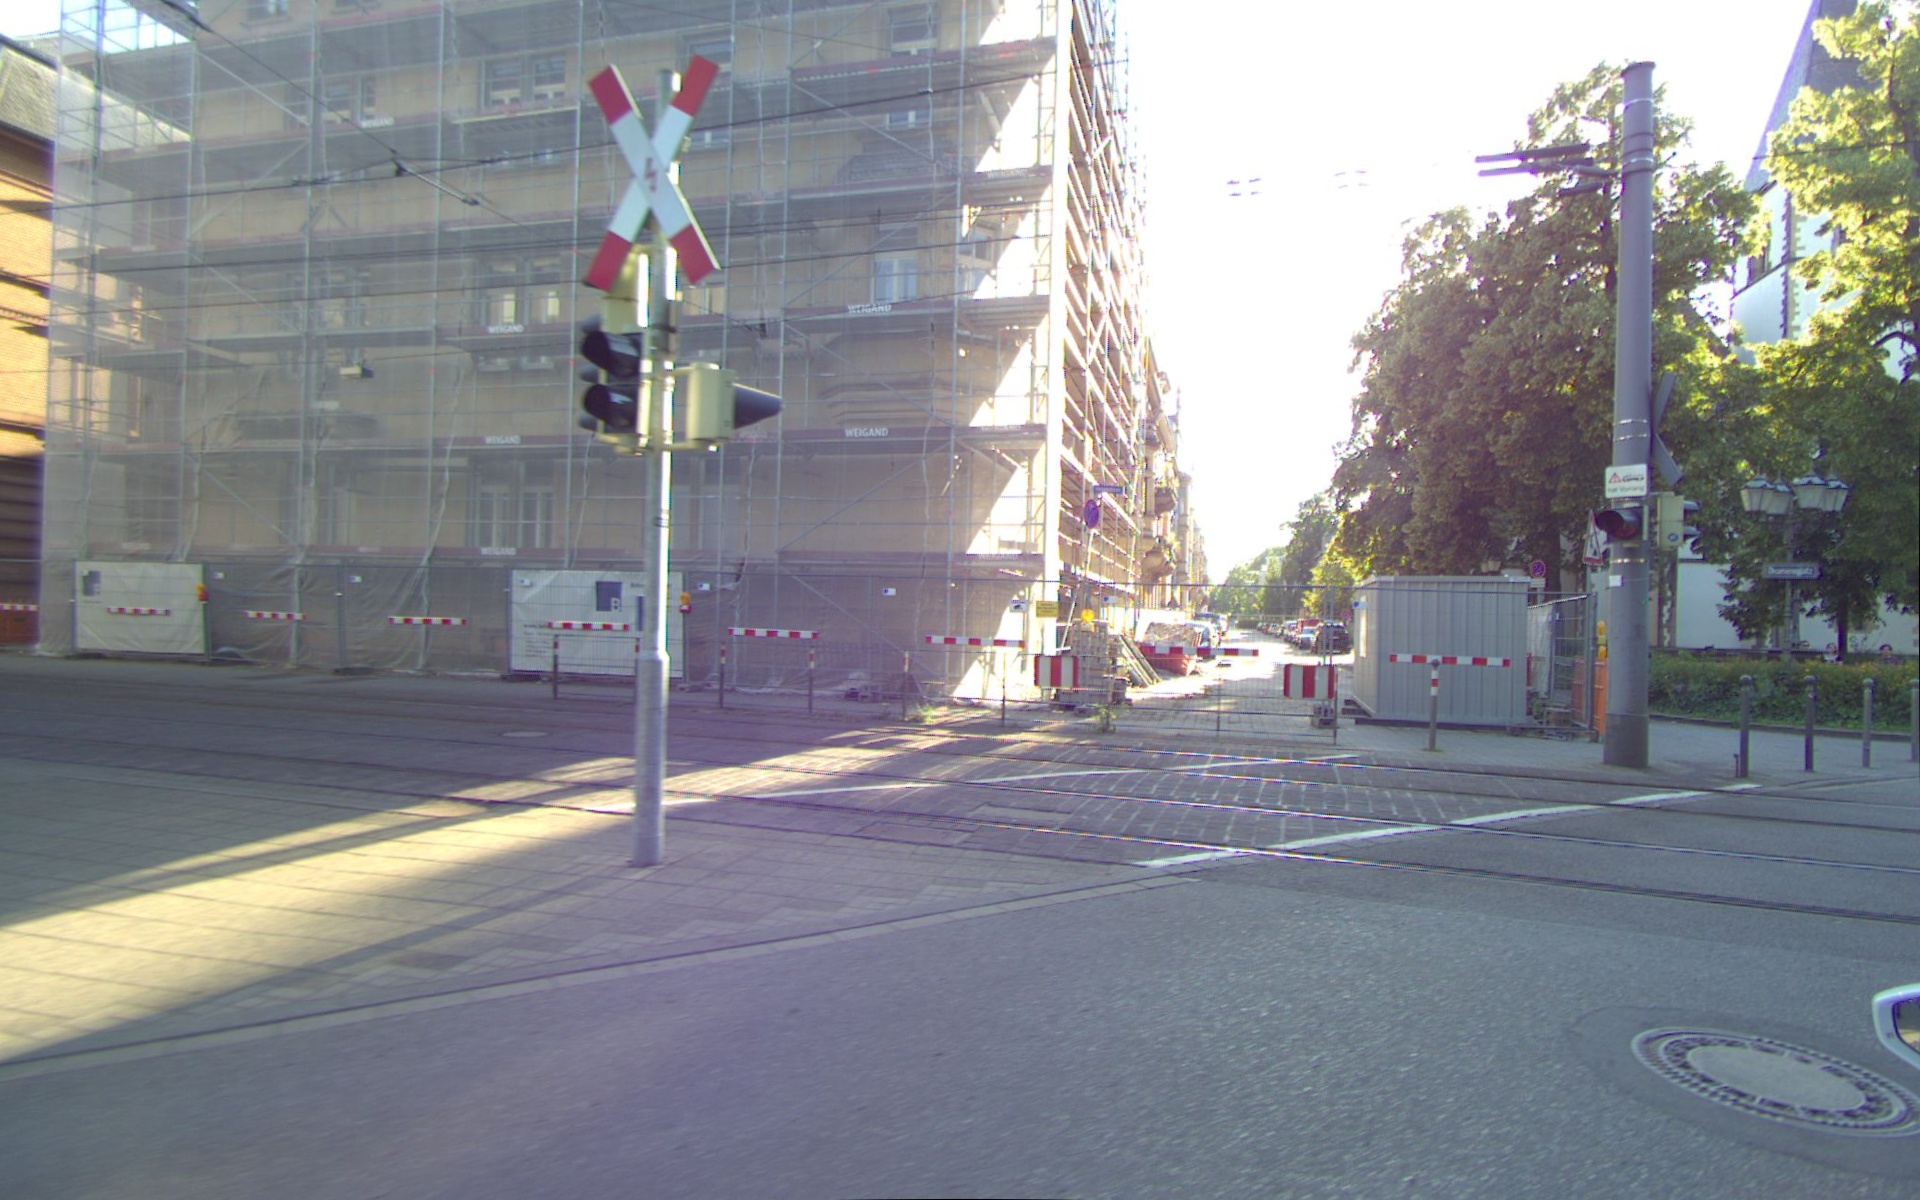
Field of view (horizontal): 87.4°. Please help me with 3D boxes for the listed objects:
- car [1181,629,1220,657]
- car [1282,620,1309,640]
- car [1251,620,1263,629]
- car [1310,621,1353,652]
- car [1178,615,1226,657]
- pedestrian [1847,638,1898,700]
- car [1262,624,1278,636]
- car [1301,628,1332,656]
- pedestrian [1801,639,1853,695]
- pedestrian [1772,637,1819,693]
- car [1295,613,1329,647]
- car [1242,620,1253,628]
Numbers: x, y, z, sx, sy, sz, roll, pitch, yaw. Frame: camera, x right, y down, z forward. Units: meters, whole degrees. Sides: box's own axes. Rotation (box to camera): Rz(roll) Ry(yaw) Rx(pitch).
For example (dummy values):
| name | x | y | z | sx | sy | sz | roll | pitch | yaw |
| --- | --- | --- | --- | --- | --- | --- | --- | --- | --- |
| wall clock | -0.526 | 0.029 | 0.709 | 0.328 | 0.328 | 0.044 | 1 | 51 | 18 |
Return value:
| name | x | y | z | sx | sy | sz | roll | pitch | yaw |
| --- | --- | --- | --- | --- | --- | --- | --- | --- | --- |
| car | 12.641 | 2.221 | 52.565 | 1.874 | 1.295 | 4.222 | 2 | -1 | 15 |
| car | 29.264 | 2.620 | 87.630 | 1.853 | 1.677 | 4.223 | 1 | -1 | 14 |
| car | 50.959 | 4.164 | 172.303 | 1.853 | 1.534 | 4.223 | 1 | -1 | 14 |
| car | 21.434 | 2.077 | 58.092 | 1.853 | 1.677 | 4.223 | 1 | -1 | 14 |
| car | 10.448 | 1.504 | 43.190 | 1.874 | 1.677 | 4.222 | 2 | -1 | 15 |
| pedestrian | 19.973 | 1.493 | 21.978 | 0.755 | 1.315 | 0.550 | 1 | -1 | -22 |
| car | 41.938 | 4.066 | 136.056 | 1.853 | 1.534 | 4.223 | 1 | -1 | 14 |
| car | 23.384 | 2.715 | 65.802 | 1.855 | 1.677 | 4.220 | 1 | -1 | 20 |
| pedestrian | 19.496 | 1.499 | 22.594 | 0.871 | 1.211 | 0.550 | 1 | -1 | -22 |
| pedestrian | 19.213 | 1.492 | 23.107 | 0.714 | 1.249 | 0.550 | 1 | -1 | -22 |
| car | 25.093 | 2.109 | 71.681 | 1.853 | 2.291 | 4.223 | 1 | -1 | 14 |
| car | 57.540 | 4.715 | 200.932 | 1.853 | 1.534 | 4.223 | 1 | -1 | 14 |
